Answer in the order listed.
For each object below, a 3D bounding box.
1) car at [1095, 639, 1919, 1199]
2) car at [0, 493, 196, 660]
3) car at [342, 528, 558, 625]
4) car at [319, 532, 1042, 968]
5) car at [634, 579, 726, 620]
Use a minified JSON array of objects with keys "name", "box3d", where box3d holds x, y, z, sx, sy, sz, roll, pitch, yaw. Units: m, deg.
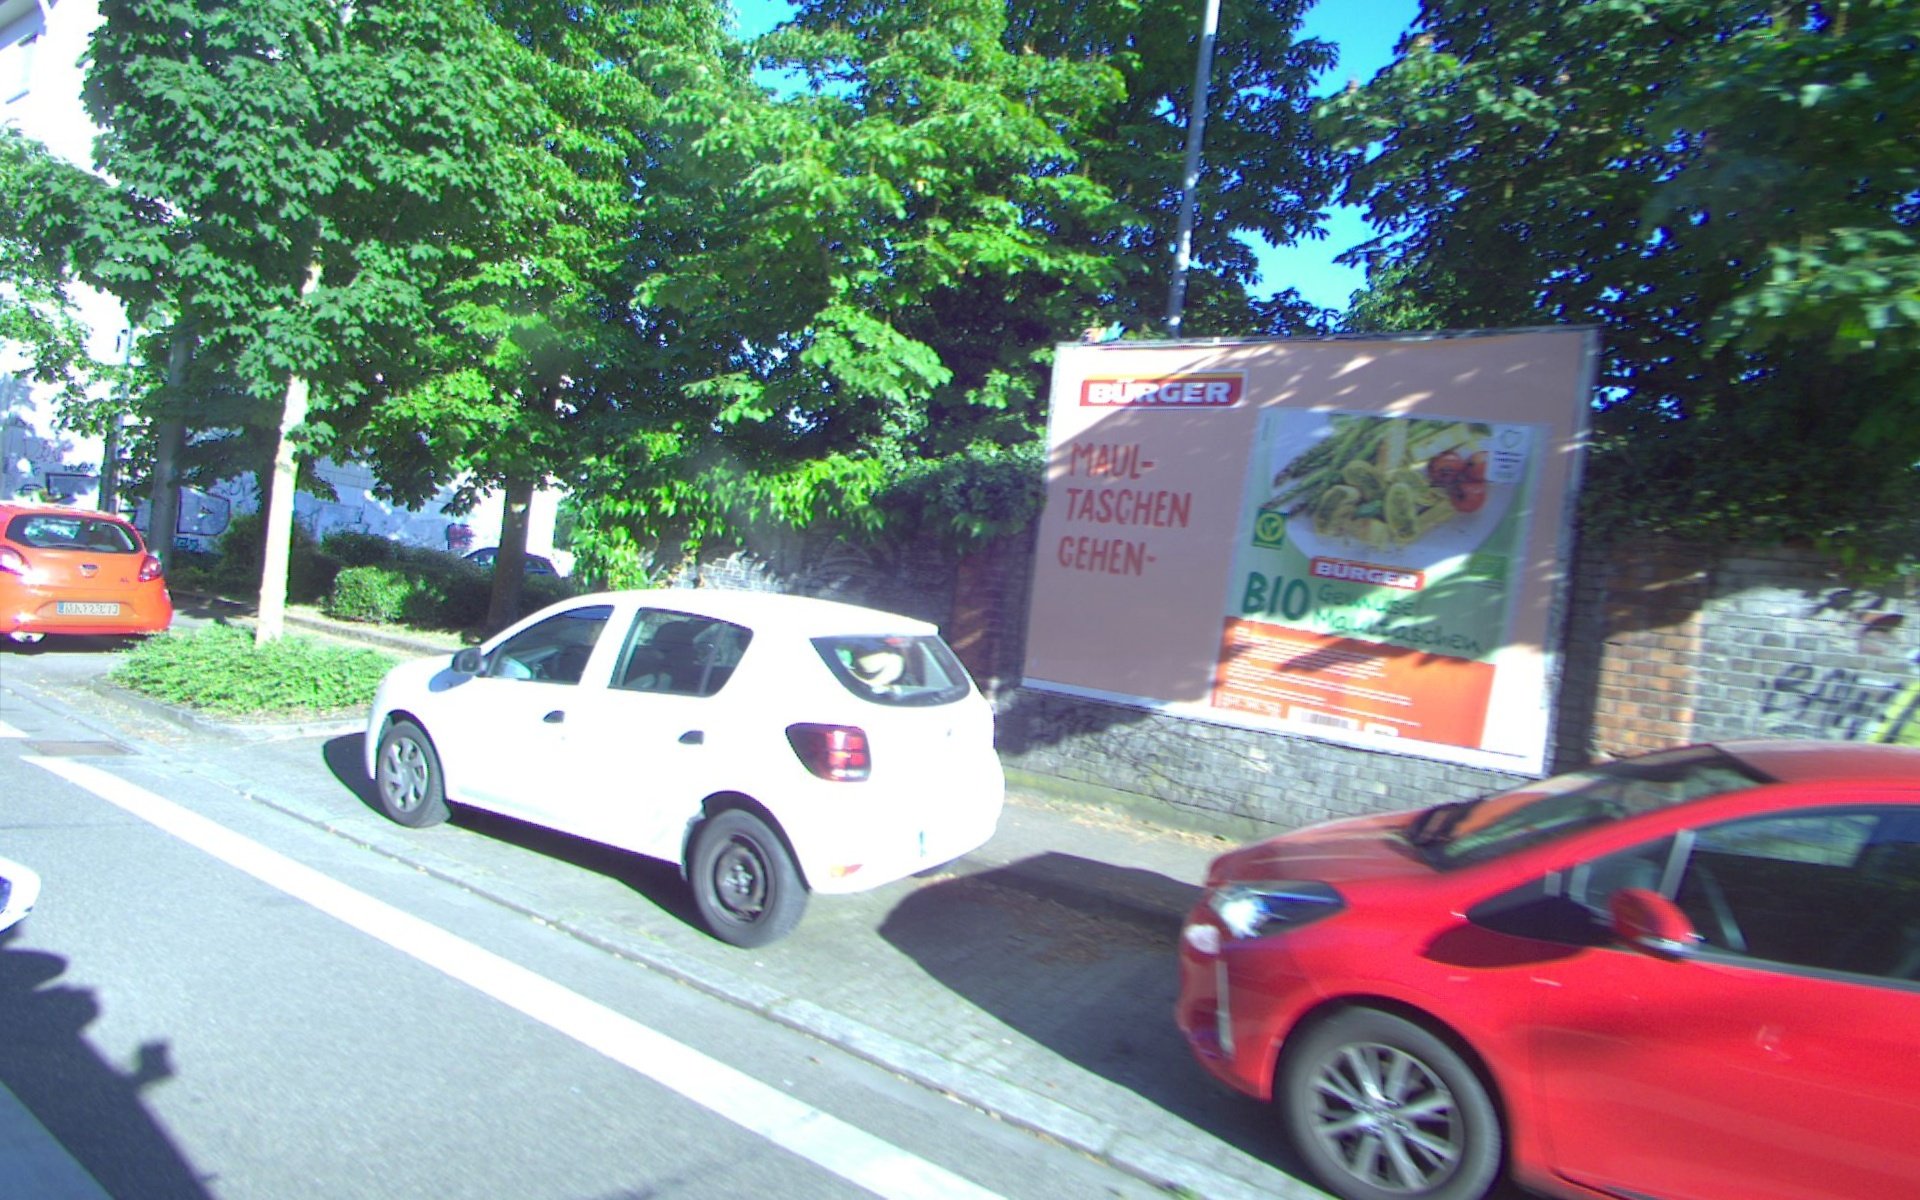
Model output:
[{"name":"car","box3d":[2.636,1.143,3.098,3.932,1.549,1.691,6,0,29]},{"name":"car","box3d":[-9.936,-0.328,10.772,3.341,1.528,1.636,7,1,32]},{"name":"car","box3d":[-12.090,-0.493,24.125,1.861,1.642,4.161,7,-3,29]},{"name":"car","box3d":[-1.730,0.597,5.834,3.933,1.549,1.691,6,0,31]},{"name":"car","box3d":[-13.385,0.000,48.317,1.862,1.504,3.994,7,-1,30]}]
